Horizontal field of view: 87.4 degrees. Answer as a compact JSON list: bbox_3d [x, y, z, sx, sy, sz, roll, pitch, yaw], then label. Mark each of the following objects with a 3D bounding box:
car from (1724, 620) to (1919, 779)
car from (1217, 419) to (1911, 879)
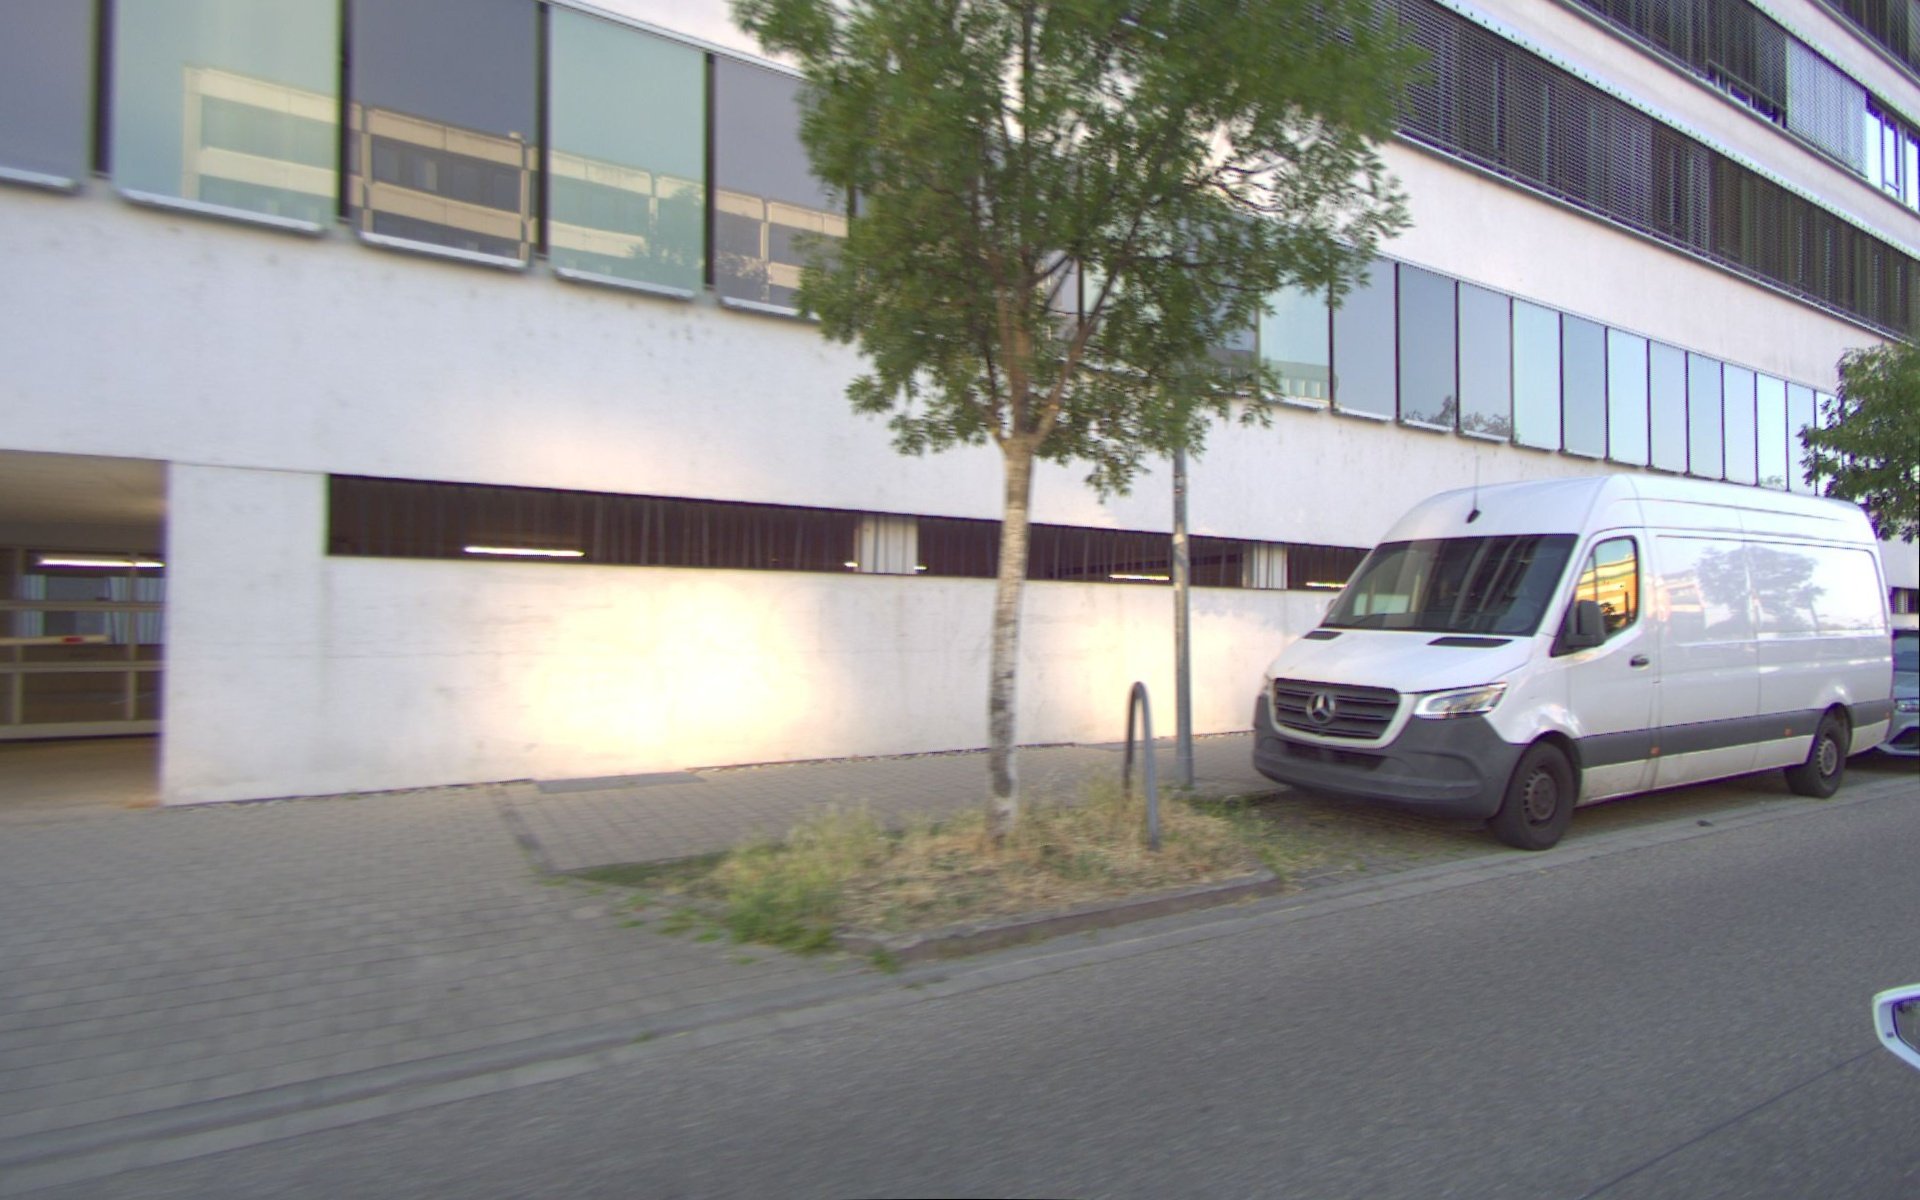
[{"bbox_3d":[10.327,0.980,11.258,3.863,1.459,1.744,1,0,-36],"label":"car"},{"bbox_3d":[5.344,0.309,8.377,6.812,2.652,1.949,1,1,-31],"label":"car"}]
